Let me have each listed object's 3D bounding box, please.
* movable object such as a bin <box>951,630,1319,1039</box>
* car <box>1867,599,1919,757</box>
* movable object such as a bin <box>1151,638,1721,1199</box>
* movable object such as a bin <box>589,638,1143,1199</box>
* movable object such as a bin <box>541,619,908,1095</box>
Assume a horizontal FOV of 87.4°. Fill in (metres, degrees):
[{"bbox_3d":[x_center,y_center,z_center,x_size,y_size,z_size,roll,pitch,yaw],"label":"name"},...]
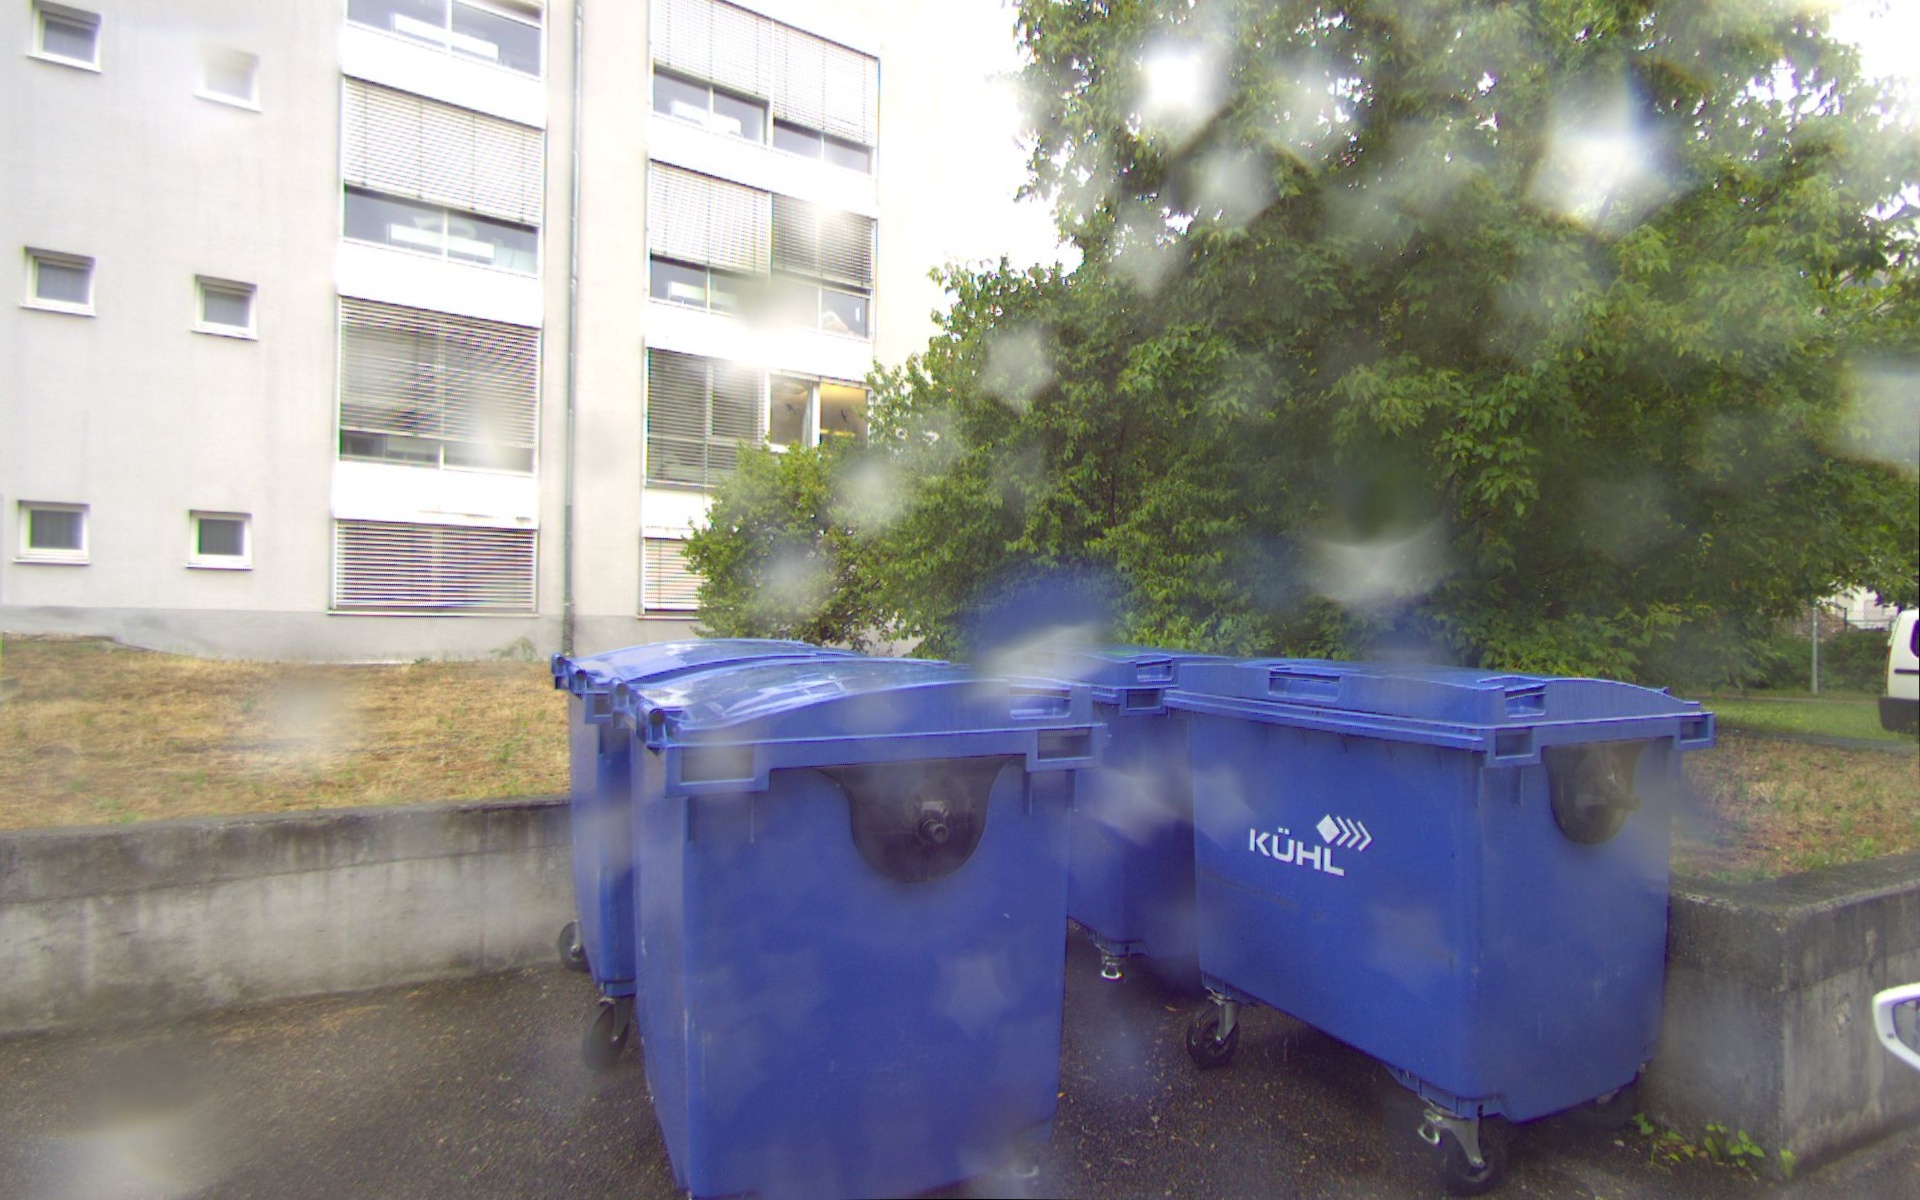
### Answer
[{"bbox_3d":[0.666,0.818,4.176,0.993,1.355,1.217,0,-1,-26],"label":"movable object such as a bin"},{"bbox_3d":[14.052,0.969,11.722,1.973,2.040,4.766,1,-2,-25],"label":"car"},{"bbox_3d":[1.351,0.806,3.042,0.993,1.355,1.217,1,-1,-26],"label":"movable object such as a bin"},{"bbox_3d":[-0.333,0.795,2.582,1.101,1.355,1.200,2,-1,-22],"label":"movable object such as a bin"},{"bbox_3d":[-0.932,0.778,3.757,1.102,1.355,1.198,-1,1,-26],"label":"movable object such as a bin"}]
